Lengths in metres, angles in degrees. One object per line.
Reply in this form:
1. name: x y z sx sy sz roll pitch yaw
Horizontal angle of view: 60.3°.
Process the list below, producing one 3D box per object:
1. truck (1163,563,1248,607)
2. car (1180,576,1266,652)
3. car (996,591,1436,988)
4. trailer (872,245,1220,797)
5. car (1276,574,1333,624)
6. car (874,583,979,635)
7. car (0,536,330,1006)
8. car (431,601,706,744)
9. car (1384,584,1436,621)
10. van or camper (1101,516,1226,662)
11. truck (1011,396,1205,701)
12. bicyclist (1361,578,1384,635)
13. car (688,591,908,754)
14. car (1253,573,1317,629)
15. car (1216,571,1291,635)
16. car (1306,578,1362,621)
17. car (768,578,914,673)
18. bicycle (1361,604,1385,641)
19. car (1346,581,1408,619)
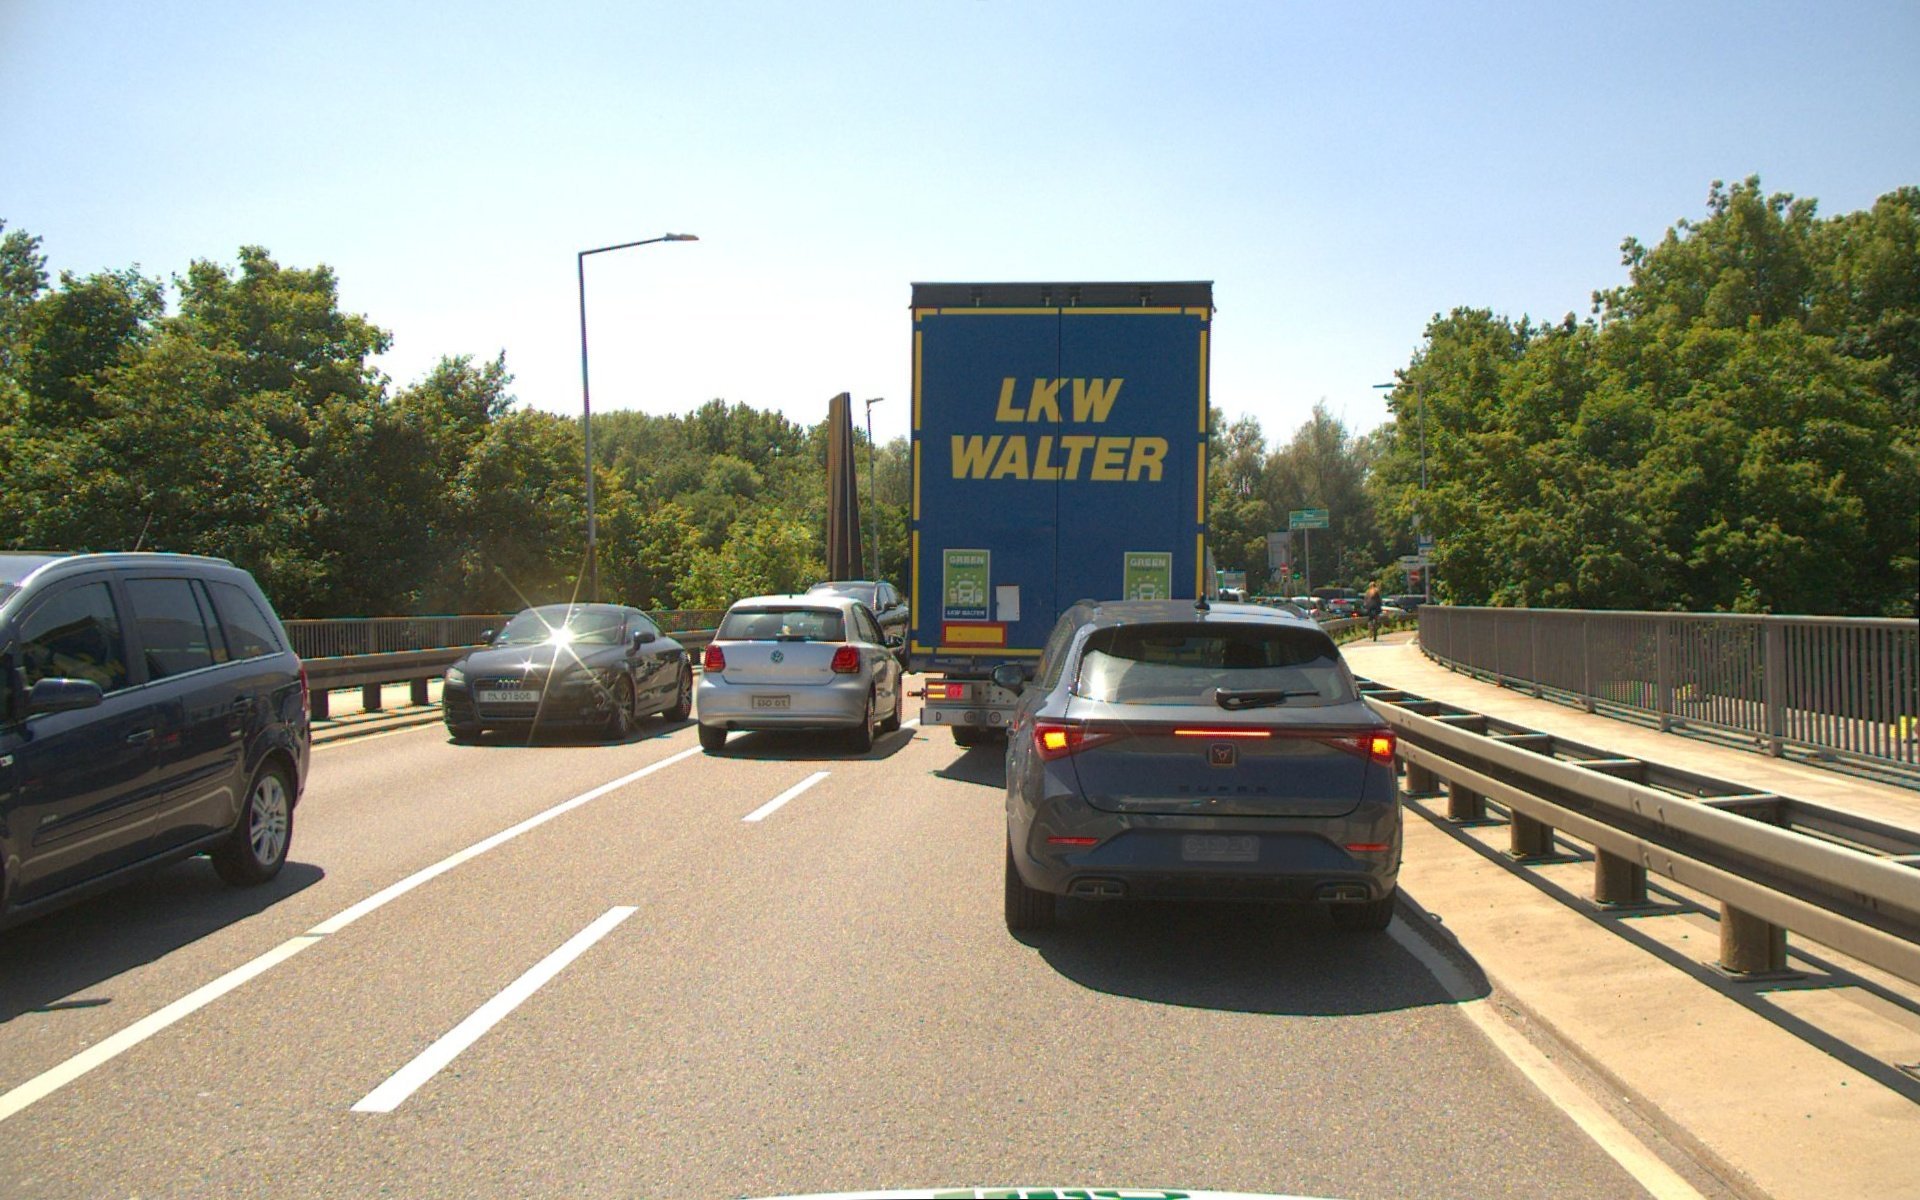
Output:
1. truck: 16.857 -1.054 113.732 2.318 2.924 5.861 0 1 -38
2. car: 6.930 0.307 43.238 1.684 1.876 4.003 0 1 17
3. car: 1.068 0.697 8.193 1.642 1.481 3.960 0 0 3
4. trailer: 1.535 -0.705 19.805 2.842 4.496 12.443 0 0 8
5. car: 13.324 -0.063 63.834 1.685 1.876 4.002 0 1 19
6. car: -0.967 0.234 50.016 1.675 1.494 4.461 0 0 20
7. car: -4.213 0.589 6.724 1.672 1.655 4.253 0 0 0
8. car: -4.042 0.694 17.740 1.642 1.331 3.976 0 0 6
9. car: 22.462 0.115 82.506 1.653 1.791 3.994 0 0 28
10. van or camper: 4.520 -0.250 35.834 2.108 2.865 6.393 0 0 12
11. truck: 2.646 -0.796 27.779 2.842 4.496 6.561 0 0 8
12. bicyclist: 12.585 0.200 50.474 0.565 1.712 0.730 -3 0 10
13. car: -1.528 0.643 16.948 1.642 1.435 3.977 1 1 3
14. car: 11.435 0.004 58.101 1.685 1.876 4.002 0 1 19
15. car: 8.853 0.073 49.637 1.685 1.834 4.002 0 1 18
16. car: 15.939 -0.020 70.399 1.651 1.791 3.998 0 0 23
17. car: -2.223 0.445 32.156 1.924 1.702 4.617 0 0 7
18. bicycle: 12.598 0.683 50.449 0.569 1.053 1.486 -3 0 10
19. car: 19.359 0.018 76.611 1.955 1.603 3.995 2 -1 26
